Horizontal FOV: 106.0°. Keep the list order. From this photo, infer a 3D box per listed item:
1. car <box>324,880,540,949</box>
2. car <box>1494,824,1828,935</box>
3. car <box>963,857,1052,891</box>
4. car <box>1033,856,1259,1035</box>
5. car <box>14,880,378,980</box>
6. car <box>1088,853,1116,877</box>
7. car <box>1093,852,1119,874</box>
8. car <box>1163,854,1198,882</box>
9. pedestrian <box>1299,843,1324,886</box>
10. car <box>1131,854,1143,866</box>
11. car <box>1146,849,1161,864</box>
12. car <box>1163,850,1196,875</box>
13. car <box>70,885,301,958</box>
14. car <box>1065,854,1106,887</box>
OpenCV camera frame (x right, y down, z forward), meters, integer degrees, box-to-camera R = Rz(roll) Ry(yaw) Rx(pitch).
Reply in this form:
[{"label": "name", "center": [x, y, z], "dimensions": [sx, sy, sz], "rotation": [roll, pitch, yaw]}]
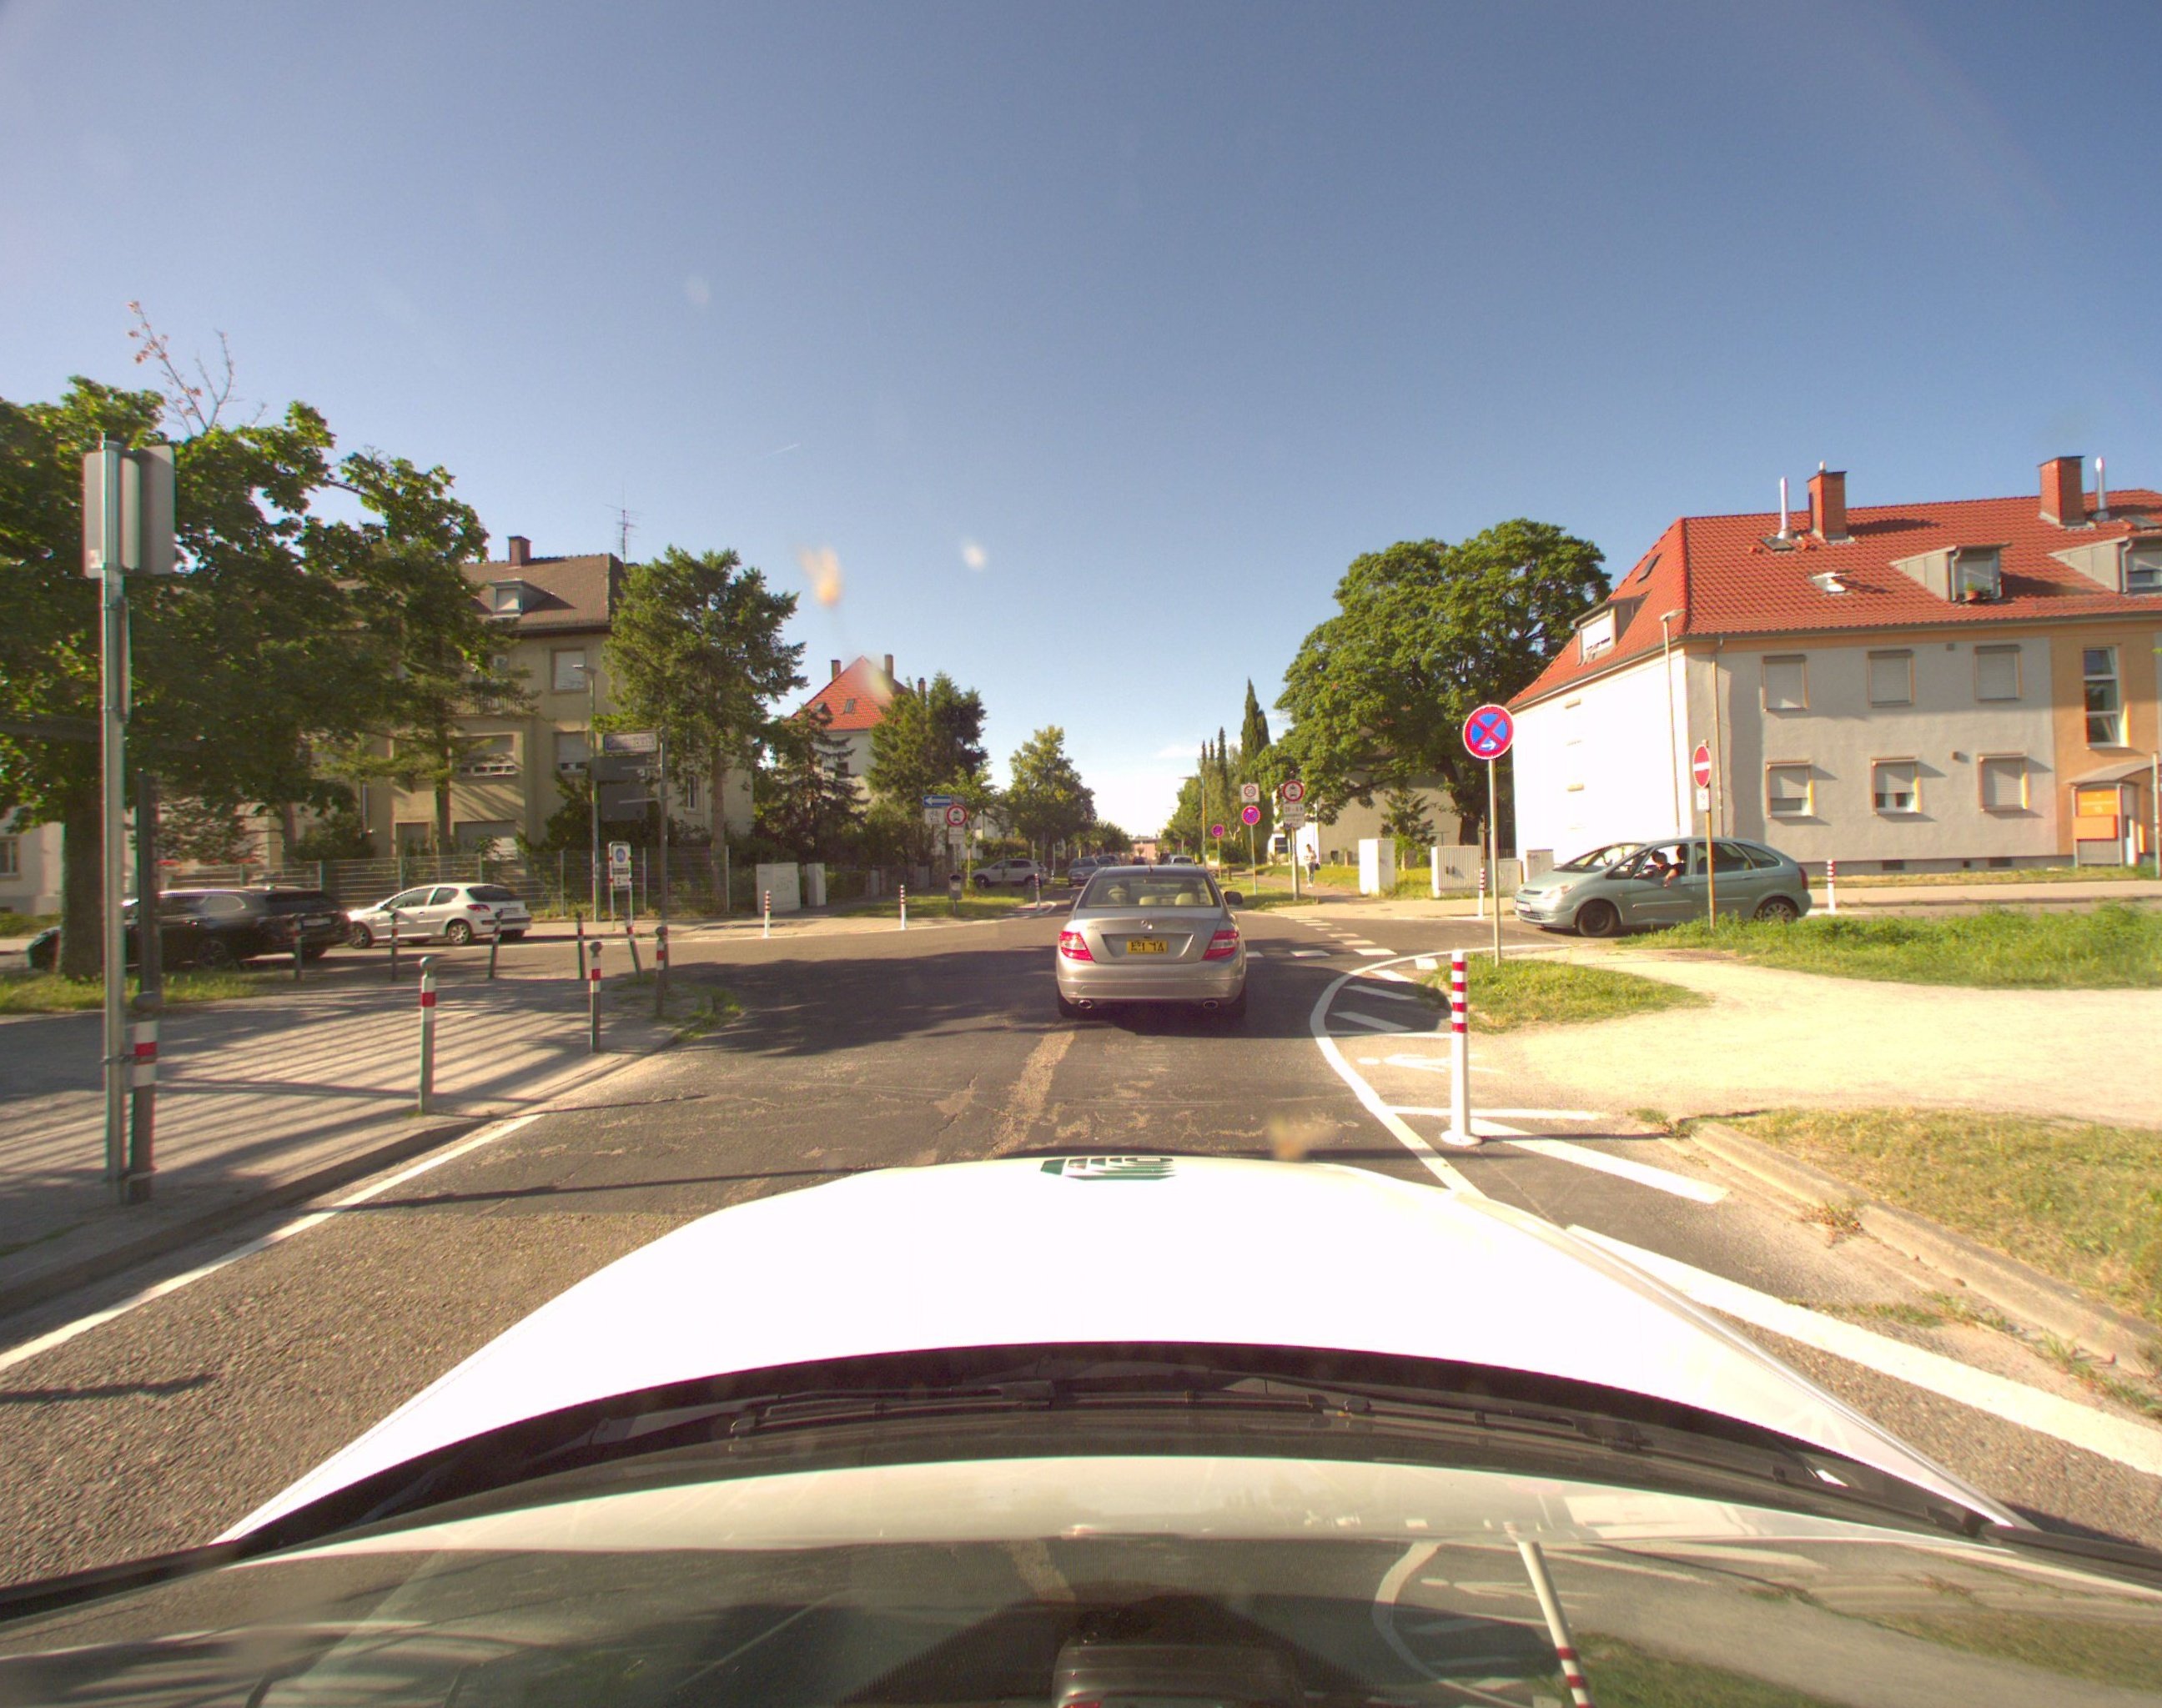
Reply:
[{"label": "car", "center": [-15.129, 1.395, 19.091], "dimensions": [3.747, 1.398, 1.709], "rotation": [-2, -1, 4]}, {"label": "car", "center": [9.578, 0.412, 13.769], "dimensions": [4.213, 1.608, 1.891], "rotation": [-2, 0, 5]}, {"label": "car", "center": [-3.638, 0.967, 40.718], "dimensions": [4.177, 1.564, 1.843], "rotation": [-1, 0, 1]}, {"label": "car", "center": [0.725, 0.766, 8.681], "dimensions": [1.827, 1.441, 4.006], "rotation": [-1, 0, 6]}, {"label": "car", "center": [-16.496, 1.378, 15.374], "dimensions": [4.722, 1.524, 2.001], "rotation": [-2, 0, 2]}, {"label": "car", "center": [1.692, 0.817, 63.404], "dimensions": [1.986, 1.609, 4.003], "rotation": [-5, 0, 2]}, {"label": "car", "center": [2.124, 0.739, 69.190], "dimensions": [1.986, 1.609, 4.003], "rotation": [-5, 0, 2]}, {"label": "car", "center": [5.763, 0.787, 47.580], "dimensions": [1.726, 1.480, 3.728], "rotation": [-2, 0, 3]}, {"label": "pedestrian", "center": [8.747, 0.388, 30.965], "dimensions": [0.761, 1.611, 0.836], "rotation": [-2, 0, 9]}, {"label": "car", "center": [7.629, 0.825, 111.013], "dimensions": [1.591, 1.609, 3.646], "rotation": [-2, 0, 3]}, {"label": "car", "center": [9.157, 0.276, 103.105], "dimensions": [1.846, 1.841, 4.004], "rotation": [-2, 0, 4]}, {"label": "car", "center": [7.008, 0.581, 58.376], "dimensions": [1.985, 1.609, 4.003], "rotation": [-2, 0, 3]}, {"label": "car", "center": [-21.130, 1.567, 19.298], "dimensions": [3.796, 1.495, 1.679], "rotation": [-2, -1, 4]}, {"label": "car", "center": [0.277, 0.873, 45.628], "dimensions": [1.986, 1.609, 4.003], "rotation": [-5, 0, 2]}]
